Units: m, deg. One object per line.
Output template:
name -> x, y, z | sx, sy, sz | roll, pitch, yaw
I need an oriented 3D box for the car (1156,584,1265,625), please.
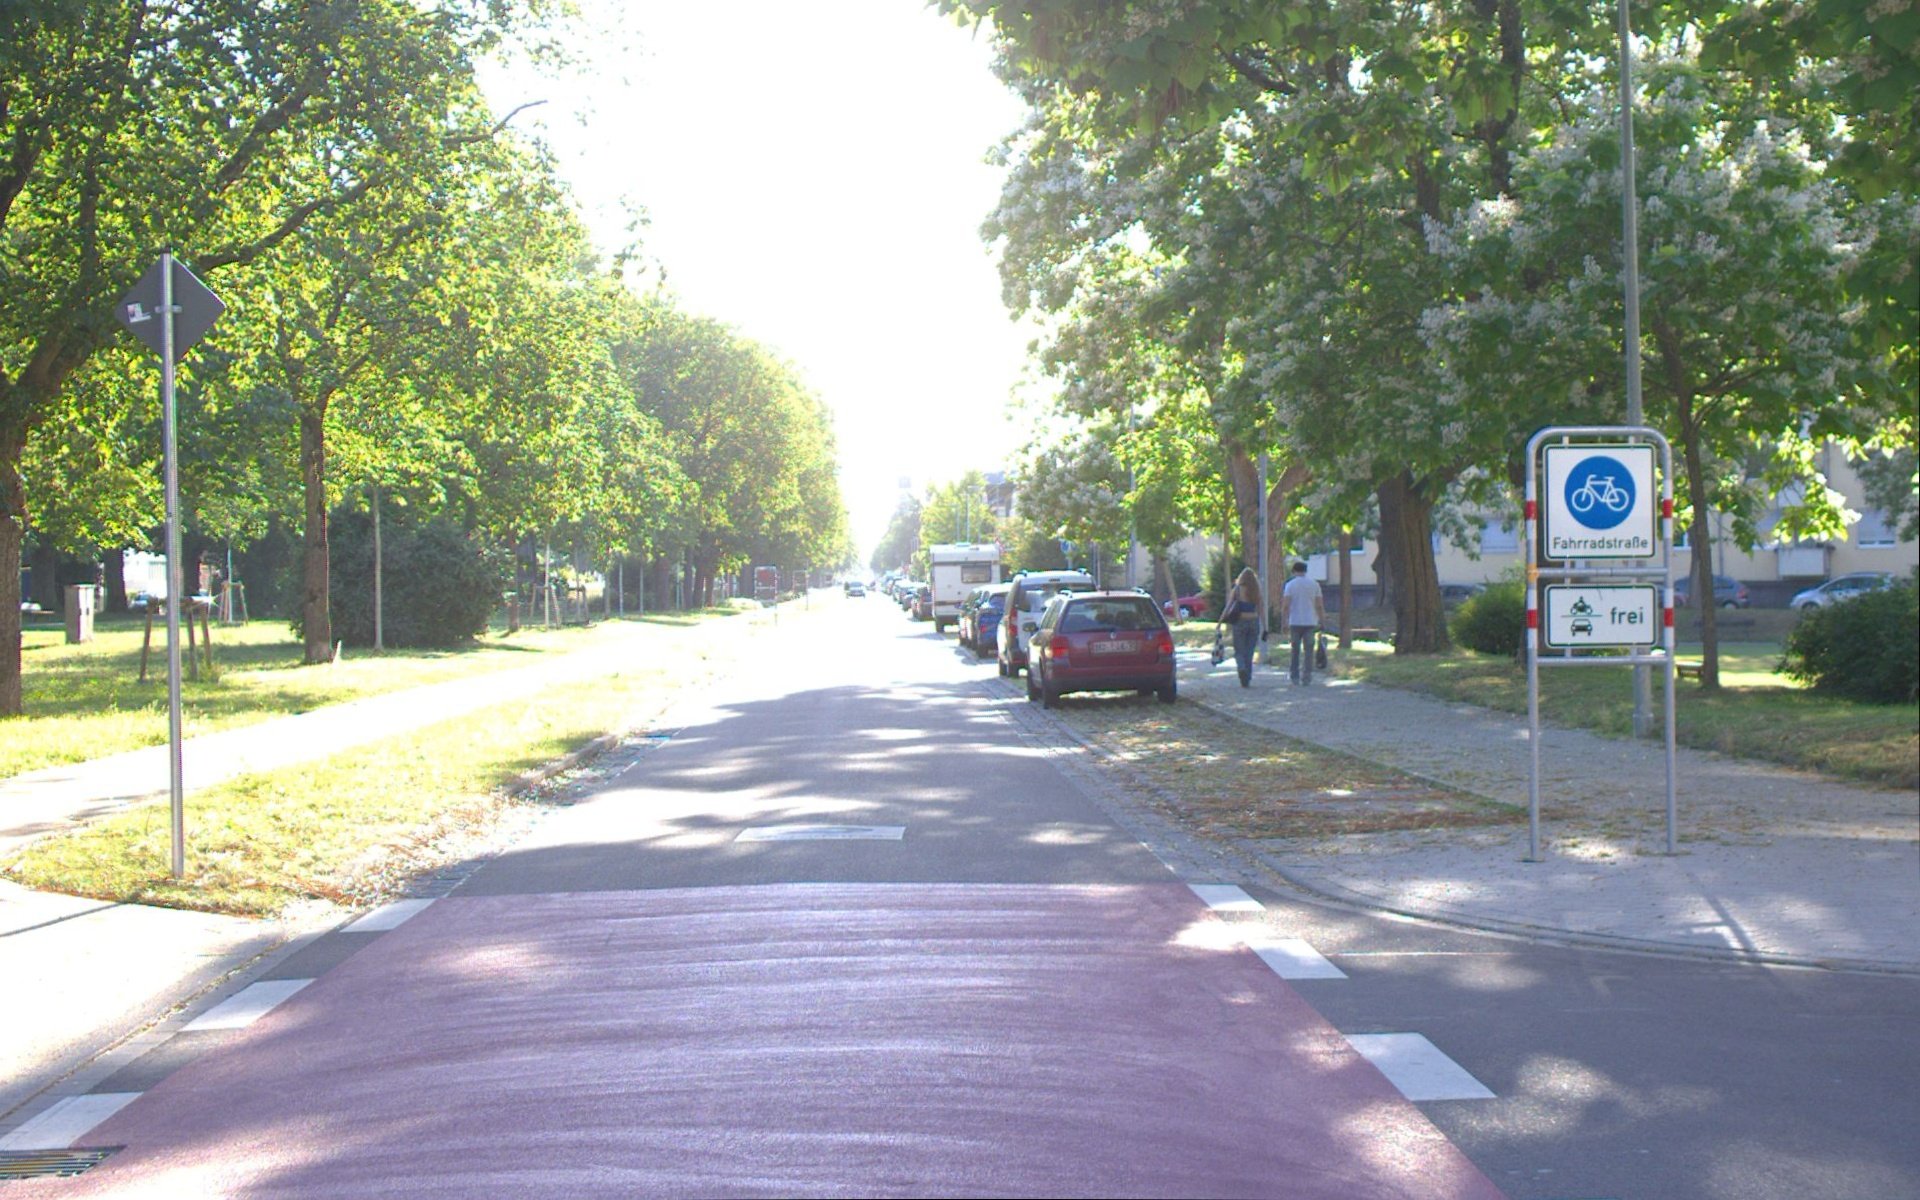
car -> 9.770, 0.191, 134.304 | 4.195, 1.525, 2.000 | -1, 0, 3

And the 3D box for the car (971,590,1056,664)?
car -> 1.137, 0.576, 74.716 | 1.731, 1.545, 4.275 | -1, 0, 0

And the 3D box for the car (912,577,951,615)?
car -> -1.271, -0.167, 153.541 | 1.626, 1.663, 4.249 | -1, 0, -2

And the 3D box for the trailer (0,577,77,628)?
trailer -> -46.510, 0.150, 172.854 | 2.459, 2.480, 7.049 | -1, 0, -1

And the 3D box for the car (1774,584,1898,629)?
car -> 31.110, 0.230, 122.074 | 3.992, 1.547, 1.608 | -1, 0, 26

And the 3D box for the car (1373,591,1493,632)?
car -> 17.477, 0.428, 126.980 | 4.197, 1.458, 1.692 | -1, 0, 14

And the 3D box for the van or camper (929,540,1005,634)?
van or camper -> 0.204, -0.387, 112.096 | 2.234, 2.894, 5.673 | -1, -1, -2

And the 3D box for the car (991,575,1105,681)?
car -> 1.478, 0.476, 59.298 | 1.678, 1.734, 4.514 | -1, 0, -2

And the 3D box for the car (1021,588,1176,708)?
car -> 1.774, 0.610, 45.403 | 1.678, 1.481, 4.810 | -1, 0, -2

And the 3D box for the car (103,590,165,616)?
car -> -48.873, 0.169, 203.422 | 2.507, 1.503, 4.912 | -1, 0, -1

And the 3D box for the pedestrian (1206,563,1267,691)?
pedestrian -> 3.766, 0.361, 46.938 | 0.753, 1.730, 0.732 | 0, 0, -1

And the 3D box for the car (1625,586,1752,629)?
car -> 27.653, 0.284, 130.507 | 4.515, 1.564, 1.879 | -1, 0, 18

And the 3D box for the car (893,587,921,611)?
car -> -3.207, -0.066, 207.320 | 1.626, 1.405, 4.249 | -1, 0, -2

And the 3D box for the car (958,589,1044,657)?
car -> 0.937, 0.542, 80.966 | 1.731, 1.545, 4.423 | -1, 0, -3

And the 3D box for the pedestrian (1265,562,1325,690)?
pedestrian -> 4.569, 0.350, 46.929 | 0.725, 1.730, 0.732 | 0, 0, -1
